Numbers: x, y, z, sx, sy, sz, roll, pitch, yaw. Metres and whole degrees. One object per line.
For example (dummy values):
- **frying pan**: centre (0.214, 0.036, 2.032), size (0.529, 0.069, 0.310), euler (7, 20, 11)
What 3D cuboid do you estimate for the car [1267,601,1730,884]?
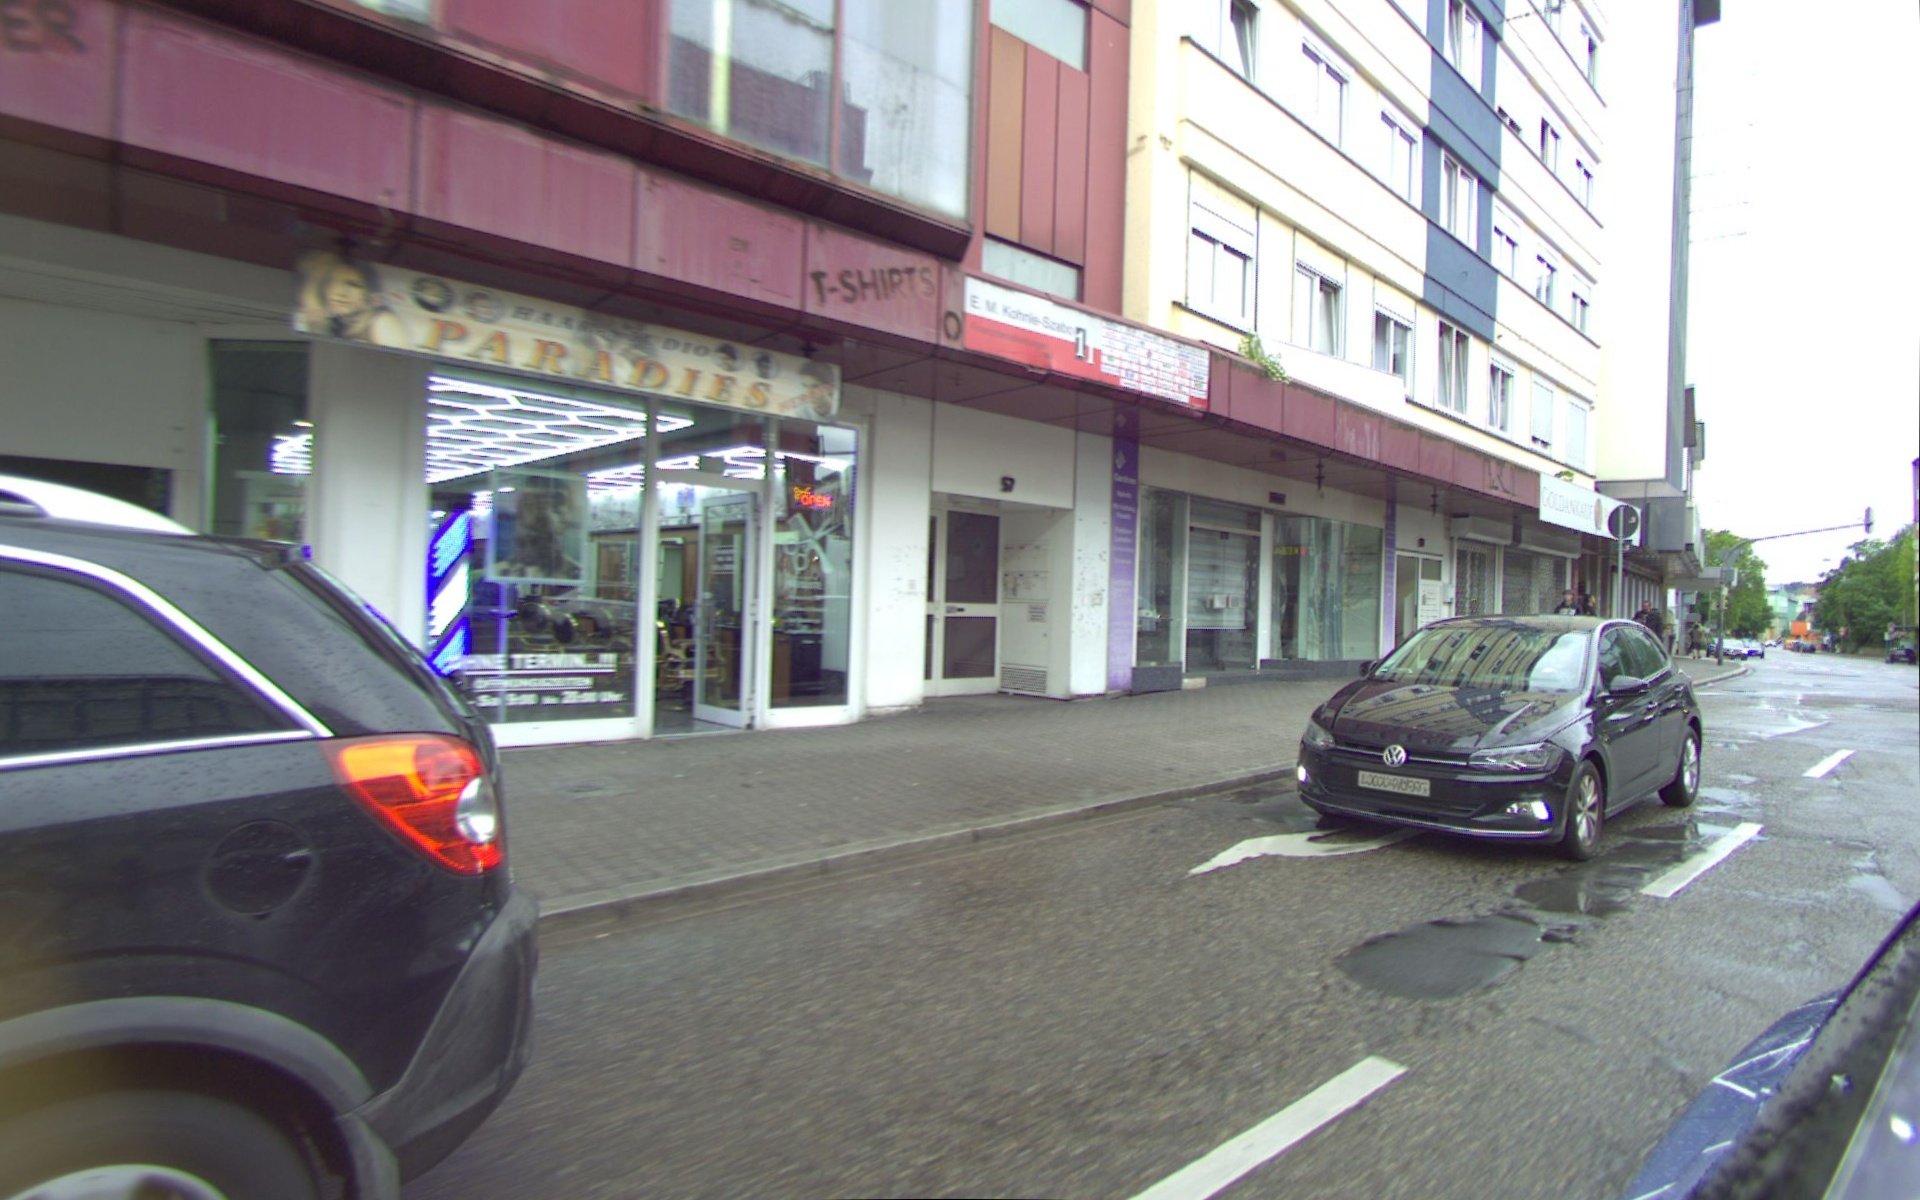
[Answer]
- **car**: centre (3.992, 0.746, 7.232), size (3.814, 1.449, 1.740), euler (0, 1, -42)

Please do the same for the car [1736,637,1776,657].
- **car**: centre (71.722, 4.222, 91.254), size (1.980, 1.640, 4.087), euler (0, 0, 26)

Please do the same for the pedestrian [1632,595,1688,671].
- **pedestrian**: centre (16.359, 0.765, 23.671), size (0.737, 1.745, 0.755), euler (1, -3, -20)

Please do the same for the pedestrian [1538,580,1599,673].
- **pedestrian**: centre (12.299, 0.535, 20.458), size (0.835, 1.786, 0.608), euler (5, 0, 42)

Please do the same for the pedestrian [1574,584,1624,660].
- **pedestrian**: centre (15.377, 0.536, 24.360), size (0.772, 1.786, 0.618), euler (1, -3, -20)

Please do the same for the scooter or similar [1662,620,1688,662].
- **scooter or similar**: centre (23.908, 1.371, 33.838), size (1.127, 1.378, 0.377), euler (1, -2, -37)

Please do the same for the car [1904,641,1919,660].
- **car**: centre (82.867, 4.381, 87.301), size (1.819, 1.594, 3.942), euler (-2, -3, 39)

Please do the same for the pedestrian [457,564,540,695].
- **pedestrian**: centre (-5.329, 0.317, 11.683), size (0.691, 1.447, 0.711), euler (1, 0, -40)

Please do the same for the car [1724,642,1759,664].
- **car**: centre (54.770, 3.692, 70.987), size (1.774, 1.472, 3.947), euler (-1, -3, 36)

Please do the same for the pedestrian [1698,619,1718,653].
- **pedestrian**: centre (36.948, 1.783, 50.011), size (0.734, 1.667, 0.632), euler (-2, -3, 39)

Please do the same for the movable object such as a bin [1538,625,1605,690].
- **movable object such as a bin**: centre (9.816, 0.920, 16.256), size (0.659, 0.945, 0.533), euler (3, 2, -5)

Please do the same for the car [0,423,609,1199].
- **car**: centre (-2.960, 0.584, 1.418), size (4.225, 1.808, 1.911), euler (2, 0, -41)
